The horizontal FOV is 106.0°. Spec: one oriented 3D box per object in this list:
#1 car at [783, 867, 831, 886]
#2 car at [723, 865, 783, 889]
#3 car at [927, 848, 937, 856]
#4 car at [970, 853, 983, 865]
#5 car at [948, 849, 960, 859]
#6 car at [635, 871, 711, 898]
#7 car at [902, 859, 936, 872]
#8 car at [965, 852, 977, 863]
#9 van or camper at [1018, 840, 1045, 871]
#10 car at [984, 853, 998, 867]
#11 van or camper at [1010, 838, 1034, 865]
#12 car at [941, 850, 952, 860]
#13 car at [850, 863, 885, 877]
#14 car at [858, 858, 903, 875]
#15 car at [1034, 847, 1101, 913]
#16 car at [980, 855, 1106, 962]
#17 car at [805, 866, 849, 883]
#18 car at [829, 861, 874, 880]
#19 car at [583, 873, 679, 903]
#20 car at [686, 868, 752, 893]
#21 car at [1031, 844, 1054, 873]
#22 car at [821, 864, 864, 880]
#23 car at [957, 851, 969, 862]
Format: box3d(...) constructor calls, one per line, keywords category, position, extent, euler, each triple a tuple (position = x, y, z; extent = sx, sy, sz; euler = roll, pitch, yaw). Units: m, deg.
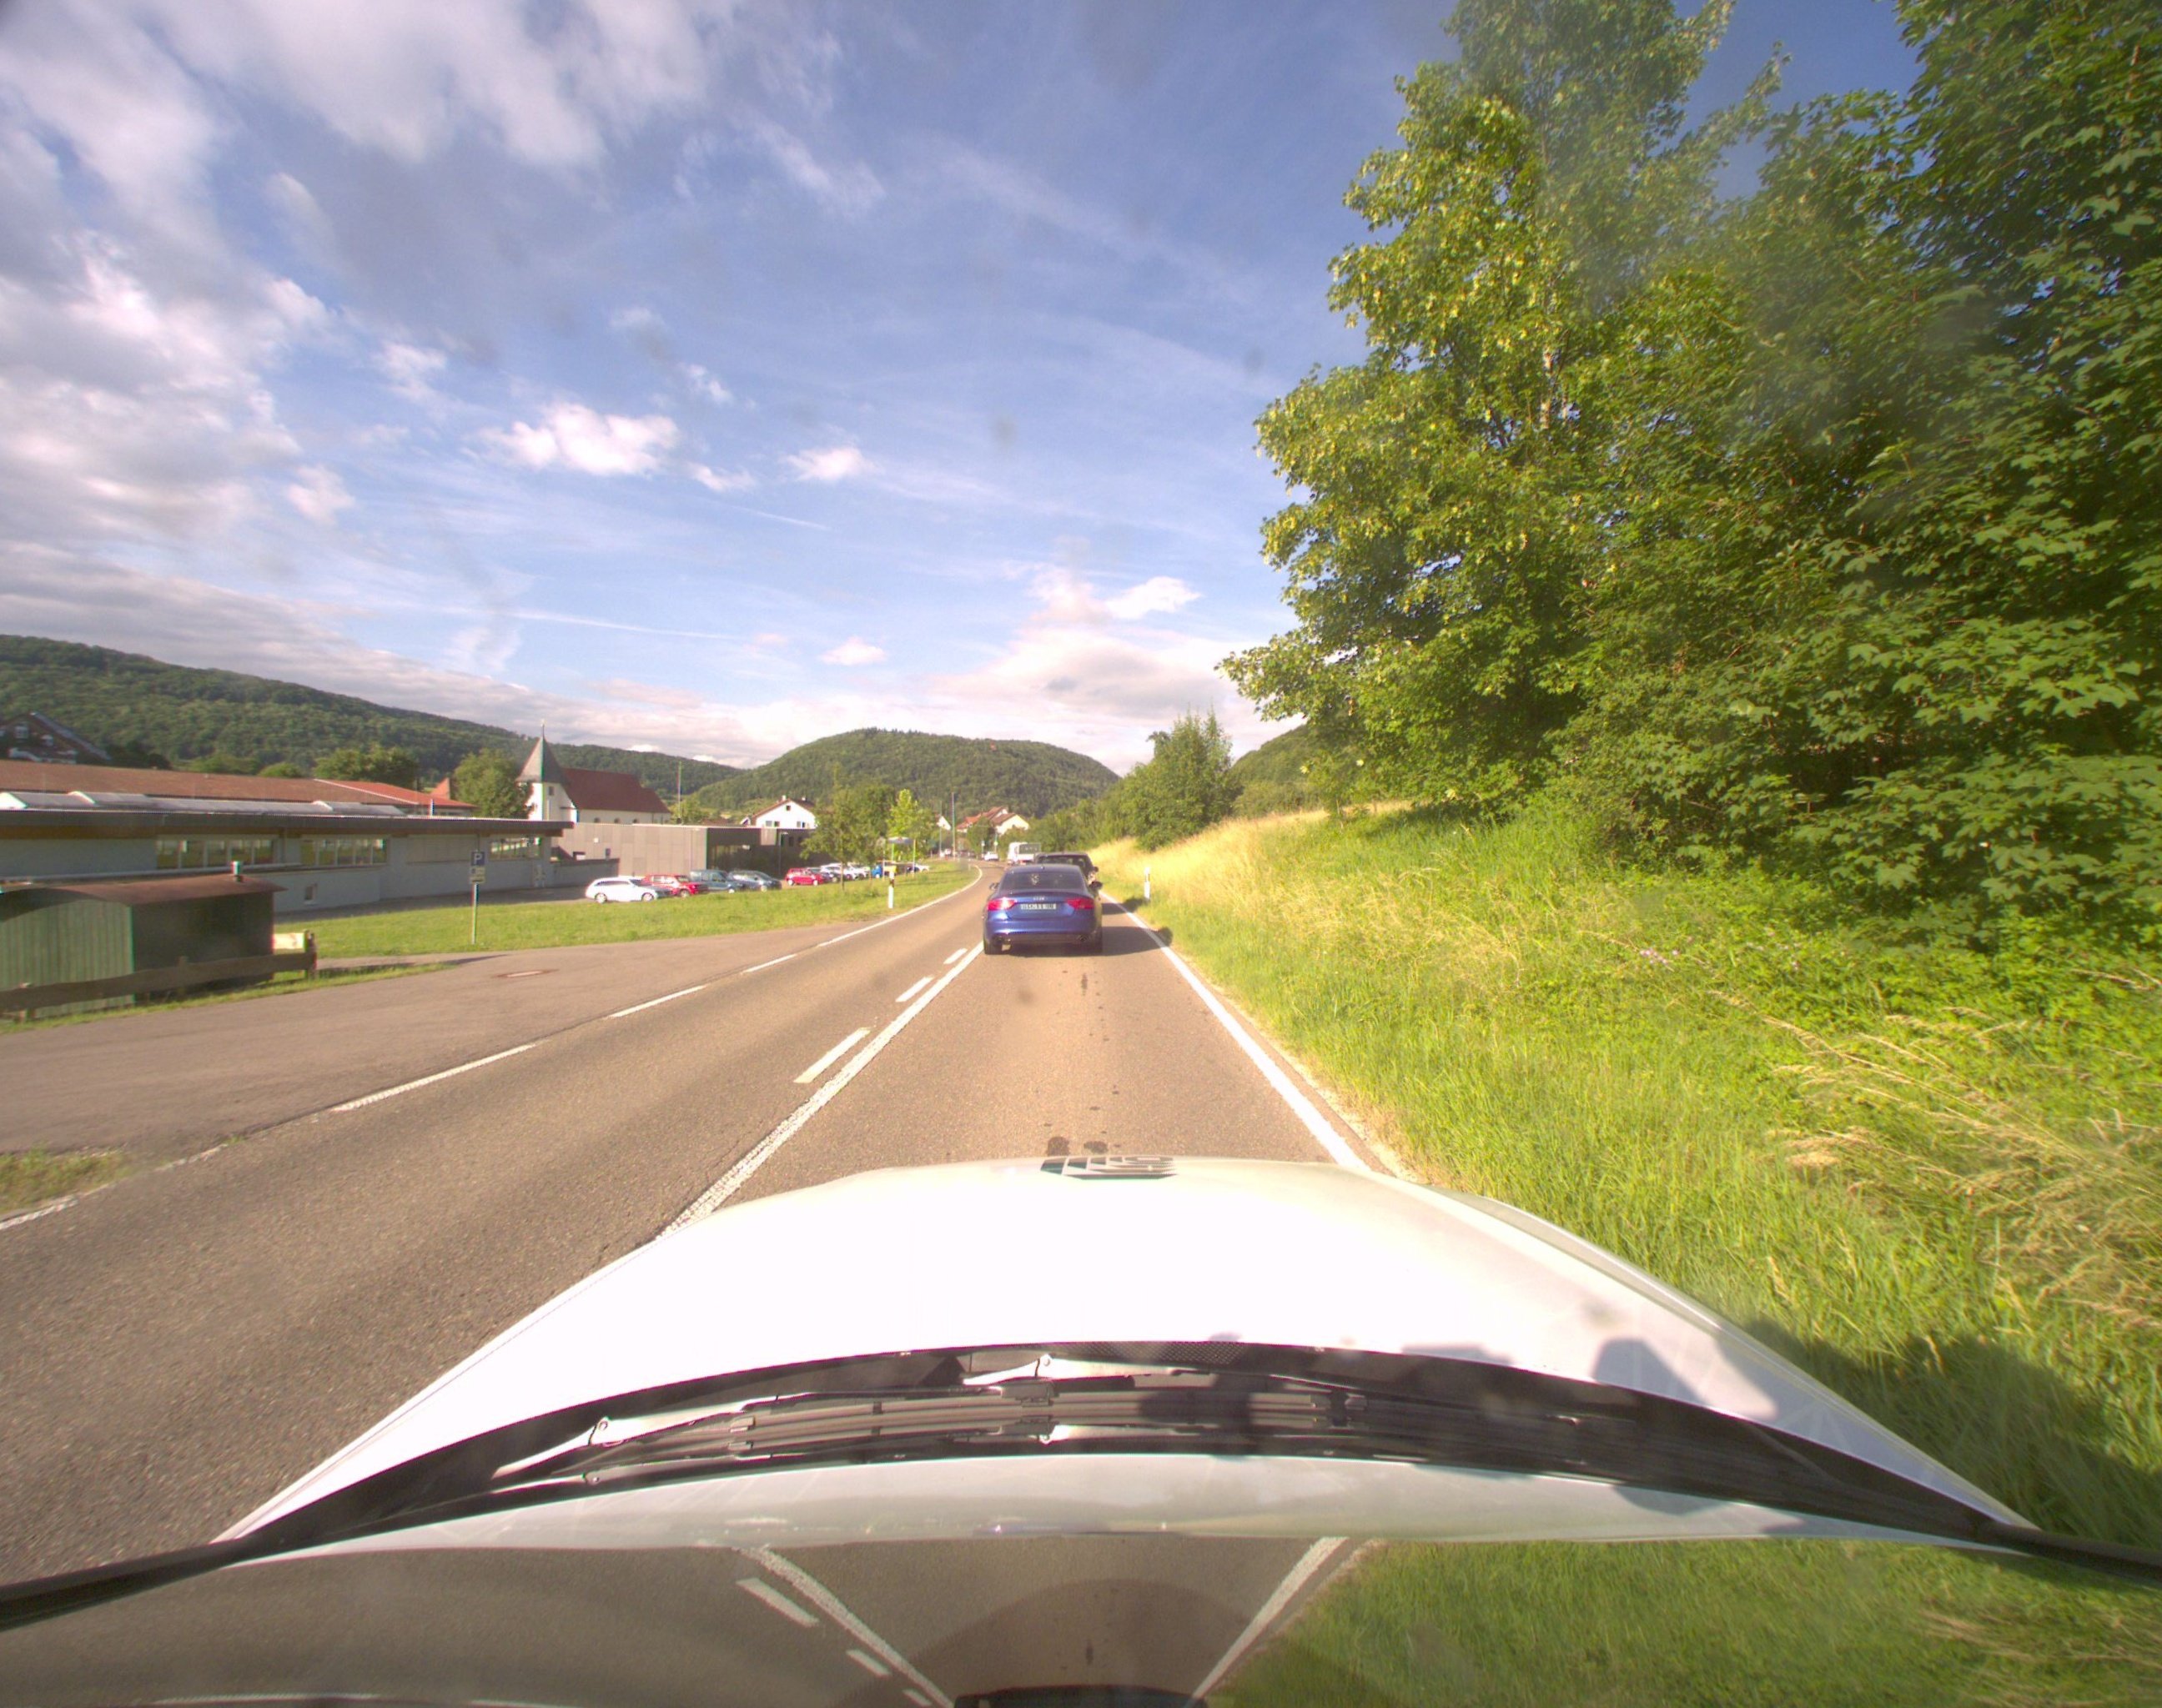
box3d(category="car", position=(-24.197, 1.986, 72.056), extent=(3.607, 1.444, 1.651), euler=(-2, 0, 5))
box3d(category="car", position=(-24.881, 1.753, 61.929), extent=(3.801, 1.722, 1.734), euler=(-1, 0, 4))
box3d(category="car", position=(-35.775, -0.479, 195.271), extent=(1.682, 1.924, 3.974), euler=(-2, 0, -19))
box3d(category="car", position=(-17.057, 0.819, 132.824), extent=(1.662, 1.924, 3.981), euler=(-2, 0, -14))
box3d(category="car", position=(-26.563, -0.006, 169.870), extent=(1.682, 1.924, 3.974), euler=(-2, 0, -19))
box3d(category="car", position=(-25.835, 1.909, 51.652), extent=(3.902, 1.579, 1.758), euler=(-1, 0, 4))
box3d(category="car", position=(-21.288, 1.494, 106.864), extent=(4.016, 1.660, 1.658), euler=(-2, 0, 5))
box3d(category="car", position=(-20.368, 0.643, 150.527), extent=(1.664, 1.924, 3.977), euler=(-2, 0, -17))
box3d(category="van or camper", position=(-4.312, 0.153, 70.073), extent=(2.049, 2.505, 5.801), euler=(-2, 0, -5))
box3d(category="car", position=(-13.478, 0.889, 122.030), extent=(1.661, 1.924, 3.983), euler=(-2, 0, -12))
box3d(category="van or camper", position=(-6.398, -0.267, 87.658), extent=(2.278, 2.713, 5.754), euler=(-2, 0, -6))
box3d(category="car", position=(-29.587, 0.210, 178.990), extent=(1.682, 1.924, 3.974), euler=(-2, 0, -19))
box3d(category="car", position=(-23.445, 1.782, 89.617), extent=(3.361, 1.373, 1.659), euler=(-2, 0, -3))
box3d(category="car", position=(-22.677, 1.406, 92.088), extent=(4.531, 1.815, 1.844), euler=(-2, 0, 5))
box3d(category="car", position=(-0.391, 0.656, 21.905), extent=(1.641, 1.625, 3.514), euler=(0, 0, -2))
box3d(category="car", position=(-0.535, 0.783, 13.338), extent=(1.737, 1.450, 3.516), euler=(-2, 0, 0))
box3d(category="car", position=(-24.074, 1.950, 77.127), extent=(3.607, 1.405, 1.598), euler=(-2, -3, 5))
box3d(category="car", position=(-23.518, 1.682, 83.572), extent=(4.057, 1.673, 1.599), euler=(-2, 2, 5))
box3d(category="car", position=(-26.930, 2.011, 48.847), extent=(4.619, 1.589, 2.002), euler=(-1, 0, 4))
box3d(category="car", position=(-25.435, 1.855, 57.354), extent=(3.846, 1.722, 1.757), euler=(0, 0, 2))
box3d(category="car", position=(-2.818, 0.327, 59.057), extent=(1.564, 2.013, 3.994), euler=(-2, 0, -4))
box3d(category="car", position=(-23.528, 1.784, 80.341), extent=(3.648, 1.494, 1.599), euler=(-2, -1, 5))
box3d(category="car", position=(-23.266, 0.508, 160.335), extent=(1.682, 1.924, 3.975), euler=(-2, 0, -18))
